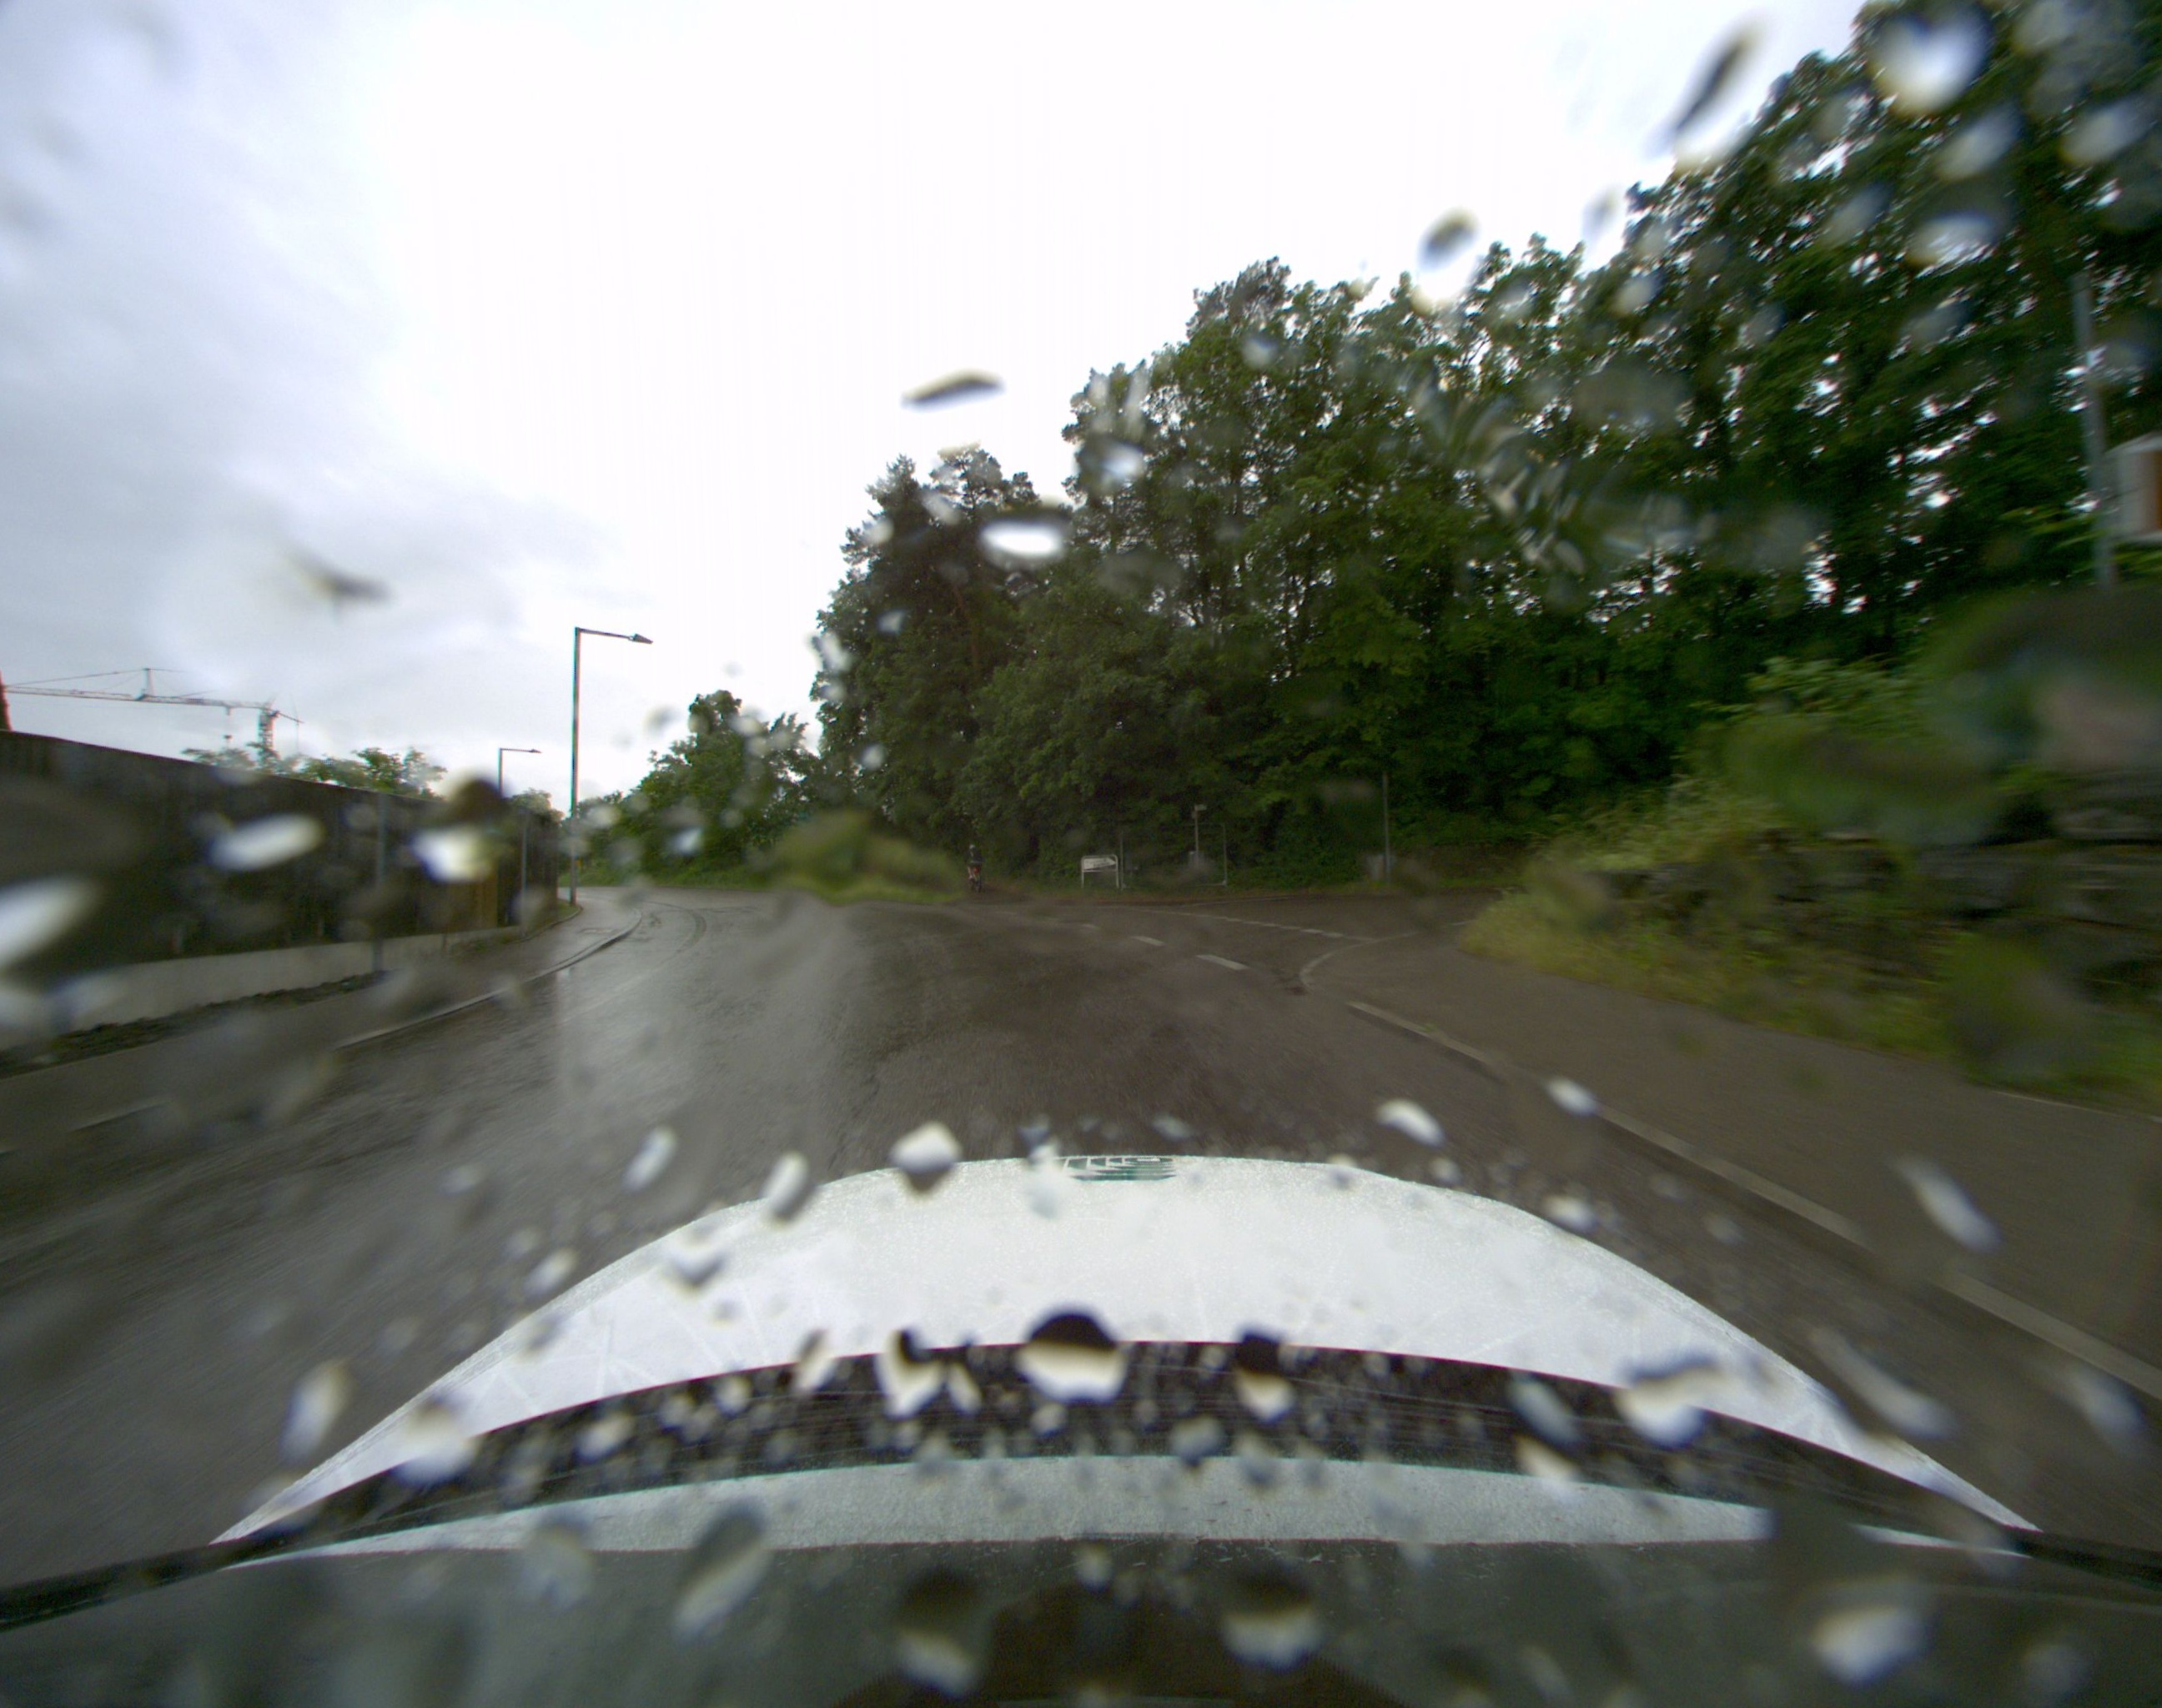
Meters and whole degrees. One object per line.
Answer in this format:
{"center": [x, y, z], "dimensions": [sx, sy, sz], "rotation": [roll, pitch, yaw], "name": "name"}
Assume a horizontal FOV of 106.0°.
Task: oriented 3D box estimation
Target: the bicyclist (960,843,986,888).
{"center": [-4.129, 0.417, 31.017], "dimensions": [0.724, 1.614, 0.898], "rotation": [0, 4, -25], "name": "bicyclist"}

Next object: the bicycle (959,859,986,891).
{"center": [-4.147, 0.779, 30.969], "dimensions": [0.530, 1.084, 1.607], "rotation": [0, 4, -26], "name": "bicycle"}
